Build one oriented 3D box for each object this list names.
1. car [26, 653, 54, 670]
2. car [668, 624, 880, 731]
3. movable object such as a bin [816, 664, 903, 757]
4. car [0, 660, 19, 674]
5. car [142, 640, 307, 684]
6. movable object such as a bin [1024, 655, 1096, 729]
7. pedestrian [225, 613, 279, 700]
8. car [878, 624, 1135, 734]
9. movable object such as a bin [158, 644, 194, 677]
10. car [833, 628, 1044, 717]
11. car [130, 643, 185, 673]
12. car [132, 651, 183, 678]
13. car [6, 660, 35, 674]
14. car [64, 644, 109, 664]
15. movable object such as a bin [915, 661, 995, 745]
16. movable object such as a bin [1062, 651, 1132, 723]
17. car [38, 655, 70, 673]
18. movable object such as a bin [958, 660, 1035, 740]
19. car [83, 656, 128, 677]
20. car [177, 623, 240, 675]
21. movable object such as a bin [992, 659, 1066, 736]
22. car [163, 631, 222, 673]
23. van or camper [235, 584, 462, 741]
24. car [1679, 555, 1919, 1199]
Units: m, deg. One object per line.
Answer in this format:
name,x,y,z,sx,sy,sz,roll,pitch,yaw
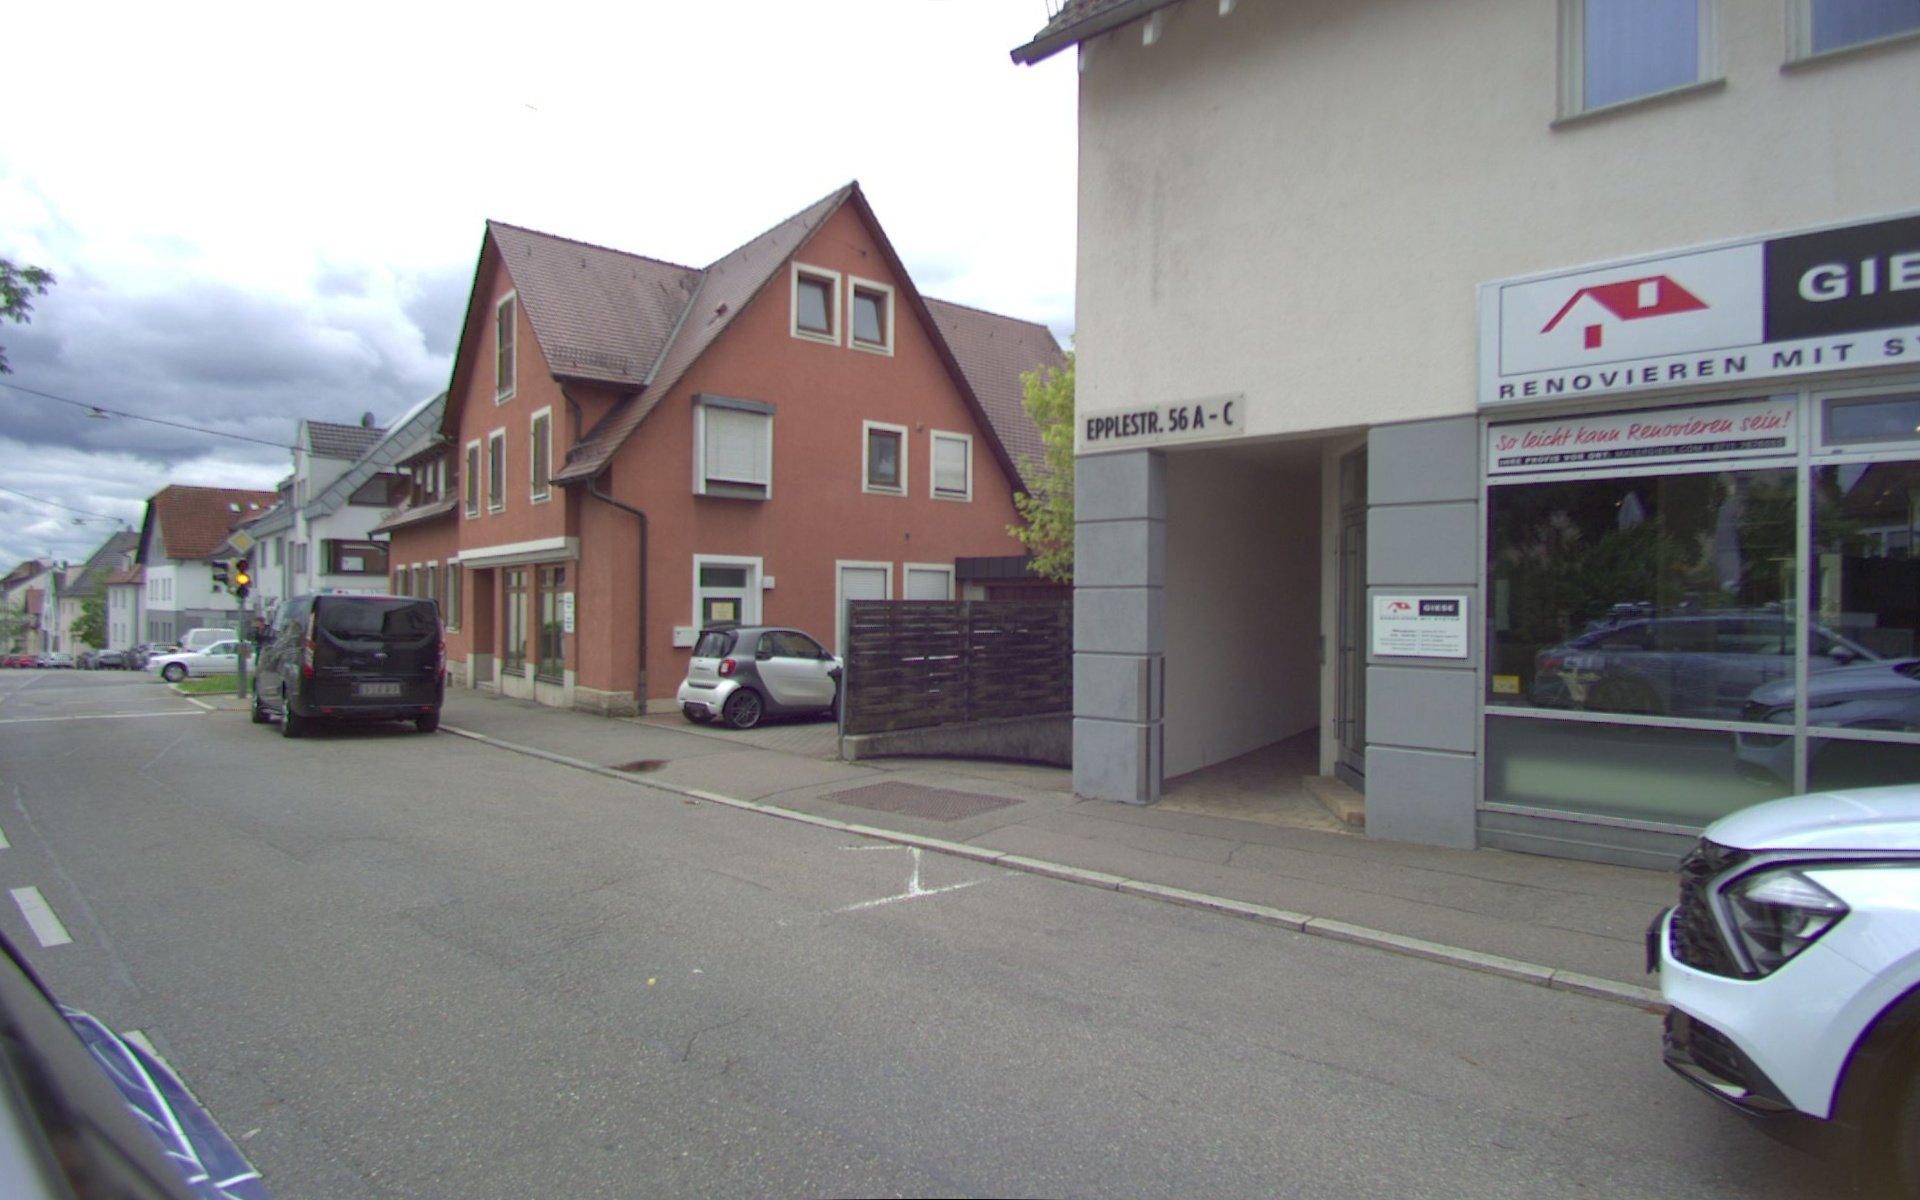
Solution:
car,-82.827,5.567,91.108,3.775,1.458,1.631,-3,-4,44
car,-2.915,1.141,15.948,2.794,1.486,1.746,1,-1,-39
movable object such as a bin,-1.185,1.273,11.924,0.796,1.026,0.658,-3,-3,45
car,-102.867,7.220,109.068,3.734,1.544,1.684,-3,-5,41
car,-25.437,2.138,35.163,4.493,1.456,2.004,2,-4,-37
movable object such as a bin,1.457,1.317,14.742,0.796,1.026,0.658,-3,-3,45
pedestrian,-15.229,1.200,21.763,0.879,1.798,0.804,0,-2,-41
car,0.808,1.138,15.987,3.936,1.486,1.745,1,-1,-40
movable object such as a bin,-39.446,3.031,50.937,1.562,1.645,1.128,-4,-4,42
car,-0.328,1.224,18.235,3.548,1.358,1.710,0,-1,-43
car,-46.980,3.405,59.212,4.407,1.645,1.818,-4,-4,42
car,-50.851,4.071,64.115,4.407,1.645,1.818,-4,-5,42
car,-94.271,6.709,101.535,3.734,1.421,1.684,-3,-5,41
car,-65.874,4.063,76.304,3.995,1.456,1.819,-3,-5,39
movable object such as a bin,-0.065,1.317,13.120,0.796,1.026,0.658,-3,-3,45
movable object such as a bin,2.067,1.299,15.318,0.796,1.026,0.658,-3,-3,45
car,-78.648,5.560,87.855,3.810,1.458,1.632,-3,-4,42
movable object such as a bin,0.488,1.330,13.695,0.796,1.026,0.658,-3,-3,45
car,-61.211,4.761,72.463,4.466,1.456,1.818,-3,-5,42
car,-31.426,2.076,42.265,1.789,2.021,4.770,3,-5,-40
movable object such as a bin,0.965,1.346,14.189,0.796,1.026,0.658,-3,-3,45
car,-35.319,2.410,46.526,1.712,1.846,4.302,3,-5,-42
van or camper,-9.517,0.906,15.551,2.048,2.021,4.863,3,-4,-42
car,4.221,0.675,1.605,4.854,1.645,1.977,-2,-1,41
